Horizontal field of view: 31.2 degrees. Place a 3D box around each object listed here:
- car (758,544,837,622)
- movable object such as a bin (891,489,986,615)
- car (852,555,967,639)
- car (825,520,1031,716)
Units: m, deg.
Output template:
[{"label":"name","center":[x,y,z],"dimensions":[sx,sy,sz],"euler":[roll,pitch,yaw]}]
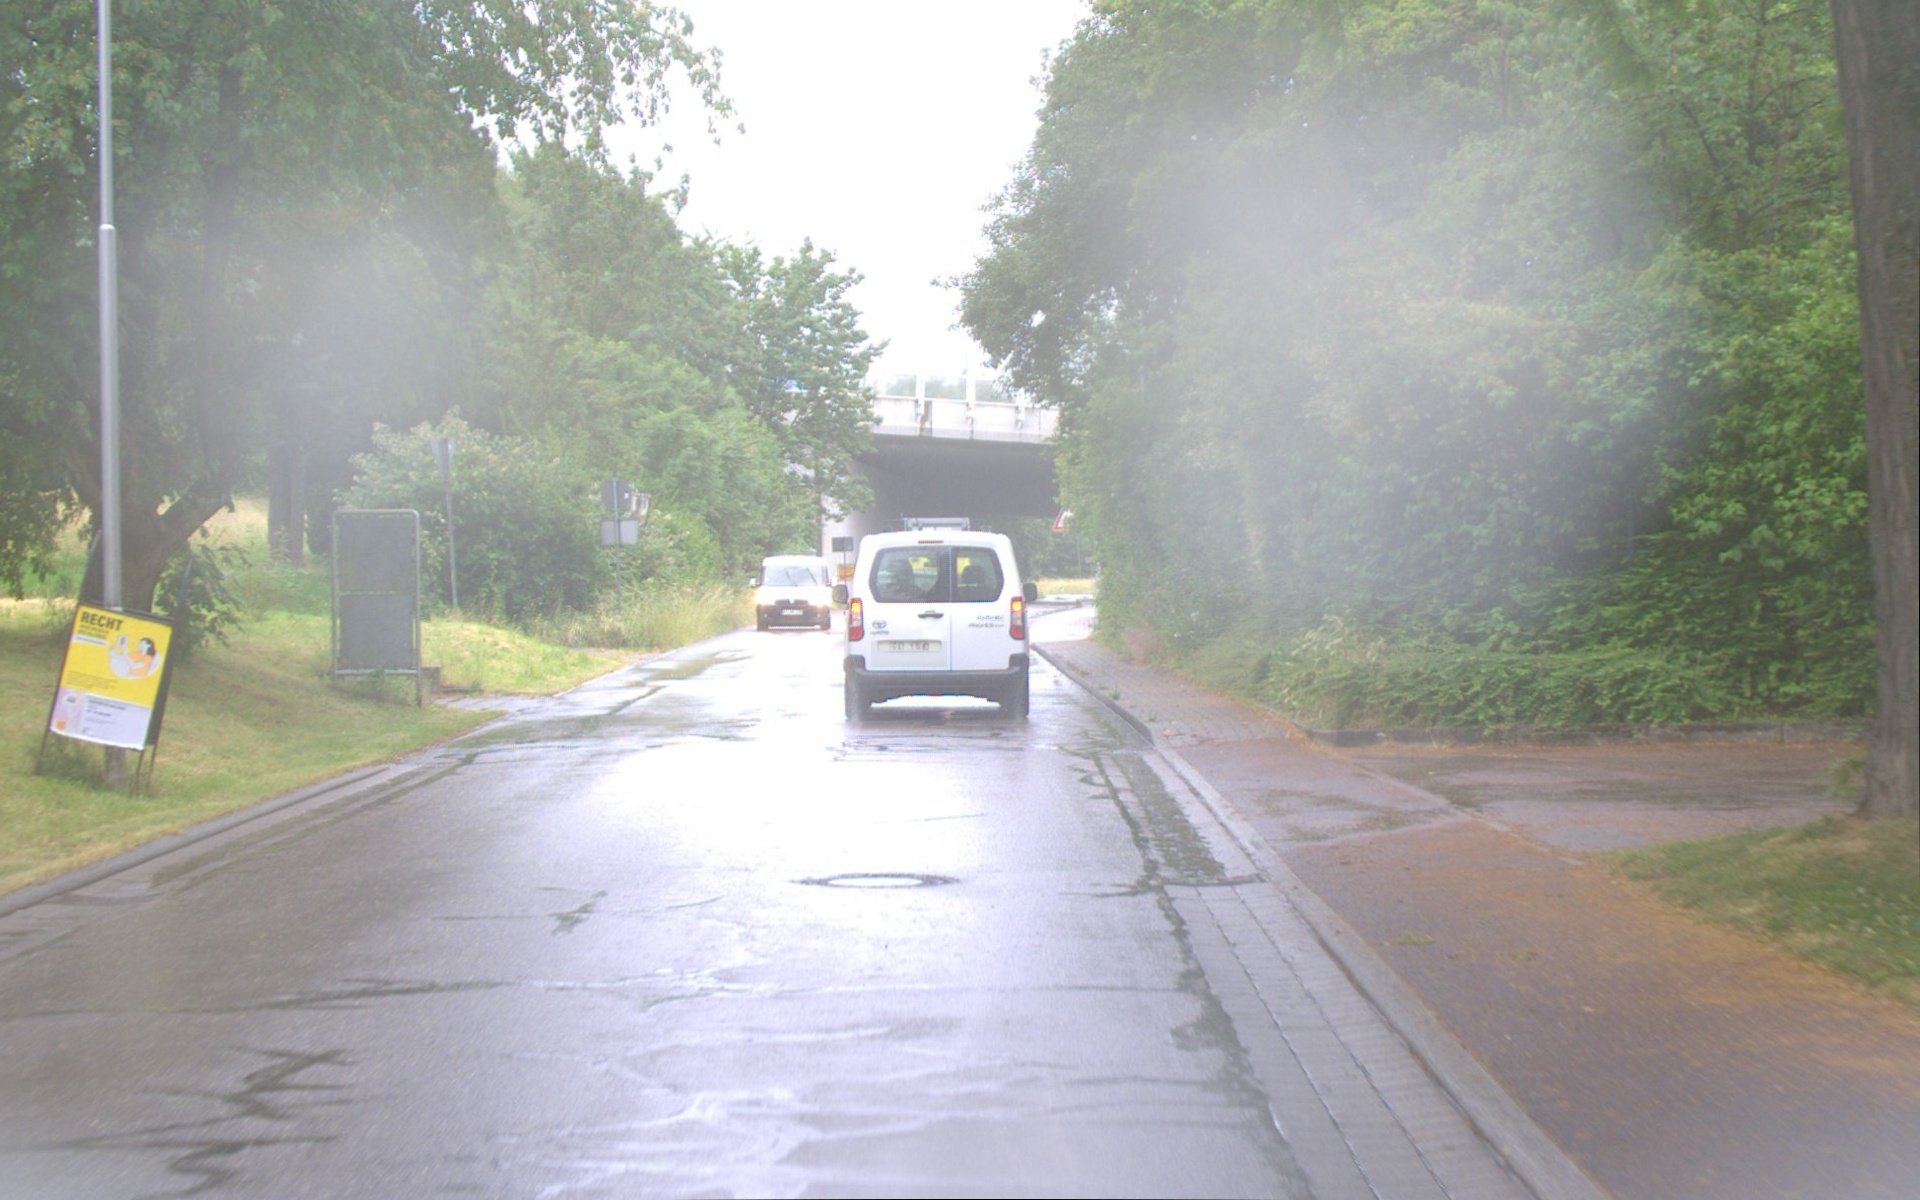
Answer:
[{"label":"car","center":[-3.929,-0.423,83.559],"dimensions":[1.823,1.825,4.307],"euler":[0,1,-2]},{"label":"movable object such as a bin","center":[-0.414,-0.991,71.568],"dimensions":[1.761,2.539,4.239],"euler":[1,0,2]},{"label":"car","center":[-0.821,-0.066,58.521],"dimensions":[1.709,1.373,4.000],"euler":[1,1,3]},{"label":"car","center":[-0.283,0.123,34.275],"dimensions":[1.896,1.800,4.000],"euler":[-1,1,0]}]
